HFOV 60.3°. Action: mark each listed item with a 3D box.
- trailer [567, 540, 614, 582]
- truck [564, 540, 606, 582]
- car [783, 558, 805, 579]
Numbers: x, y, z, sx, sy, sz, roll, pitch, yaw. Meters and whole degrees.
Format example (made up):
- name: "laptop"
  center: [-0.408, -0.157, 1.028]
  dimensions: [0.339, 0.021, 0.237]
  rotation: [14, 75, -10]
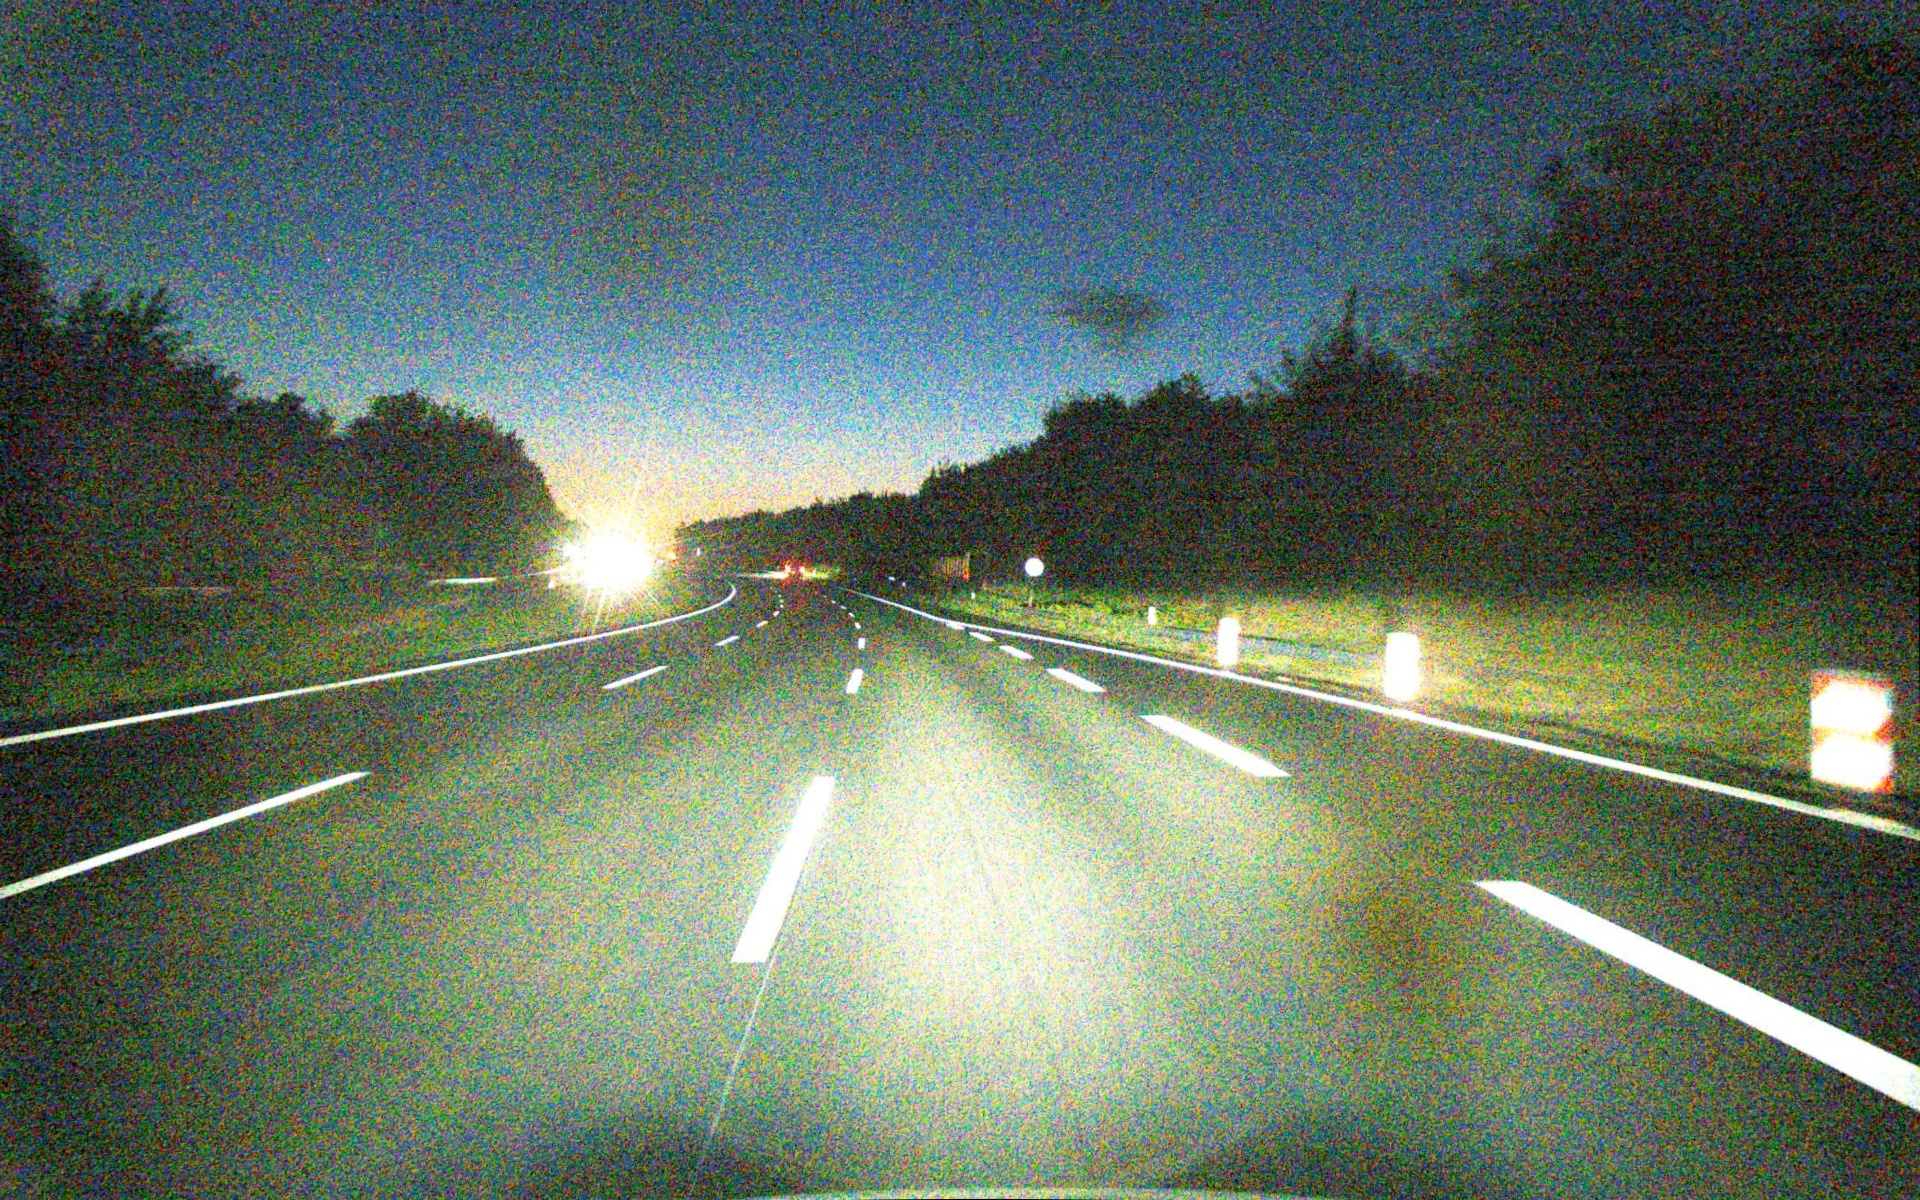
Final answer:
- name: "trailer"
  center: [-38.709, -4.071, 173.621]
  dimensions: [3.531, 4.161, 14.101]
  rotation: [1, 1, -7]
- name: "truck"
  center: [-37.904, -3.946, 167.406]
  dimensions: [3.521, 4.171, 5.986]
  rotation: [1, 1, -7]
- name: "car"
  center: [-21.822, -4.170, 217.092]
  dimensions: [2.481, 2.597, 6.040]
  rotation: [3, 1, -8]
